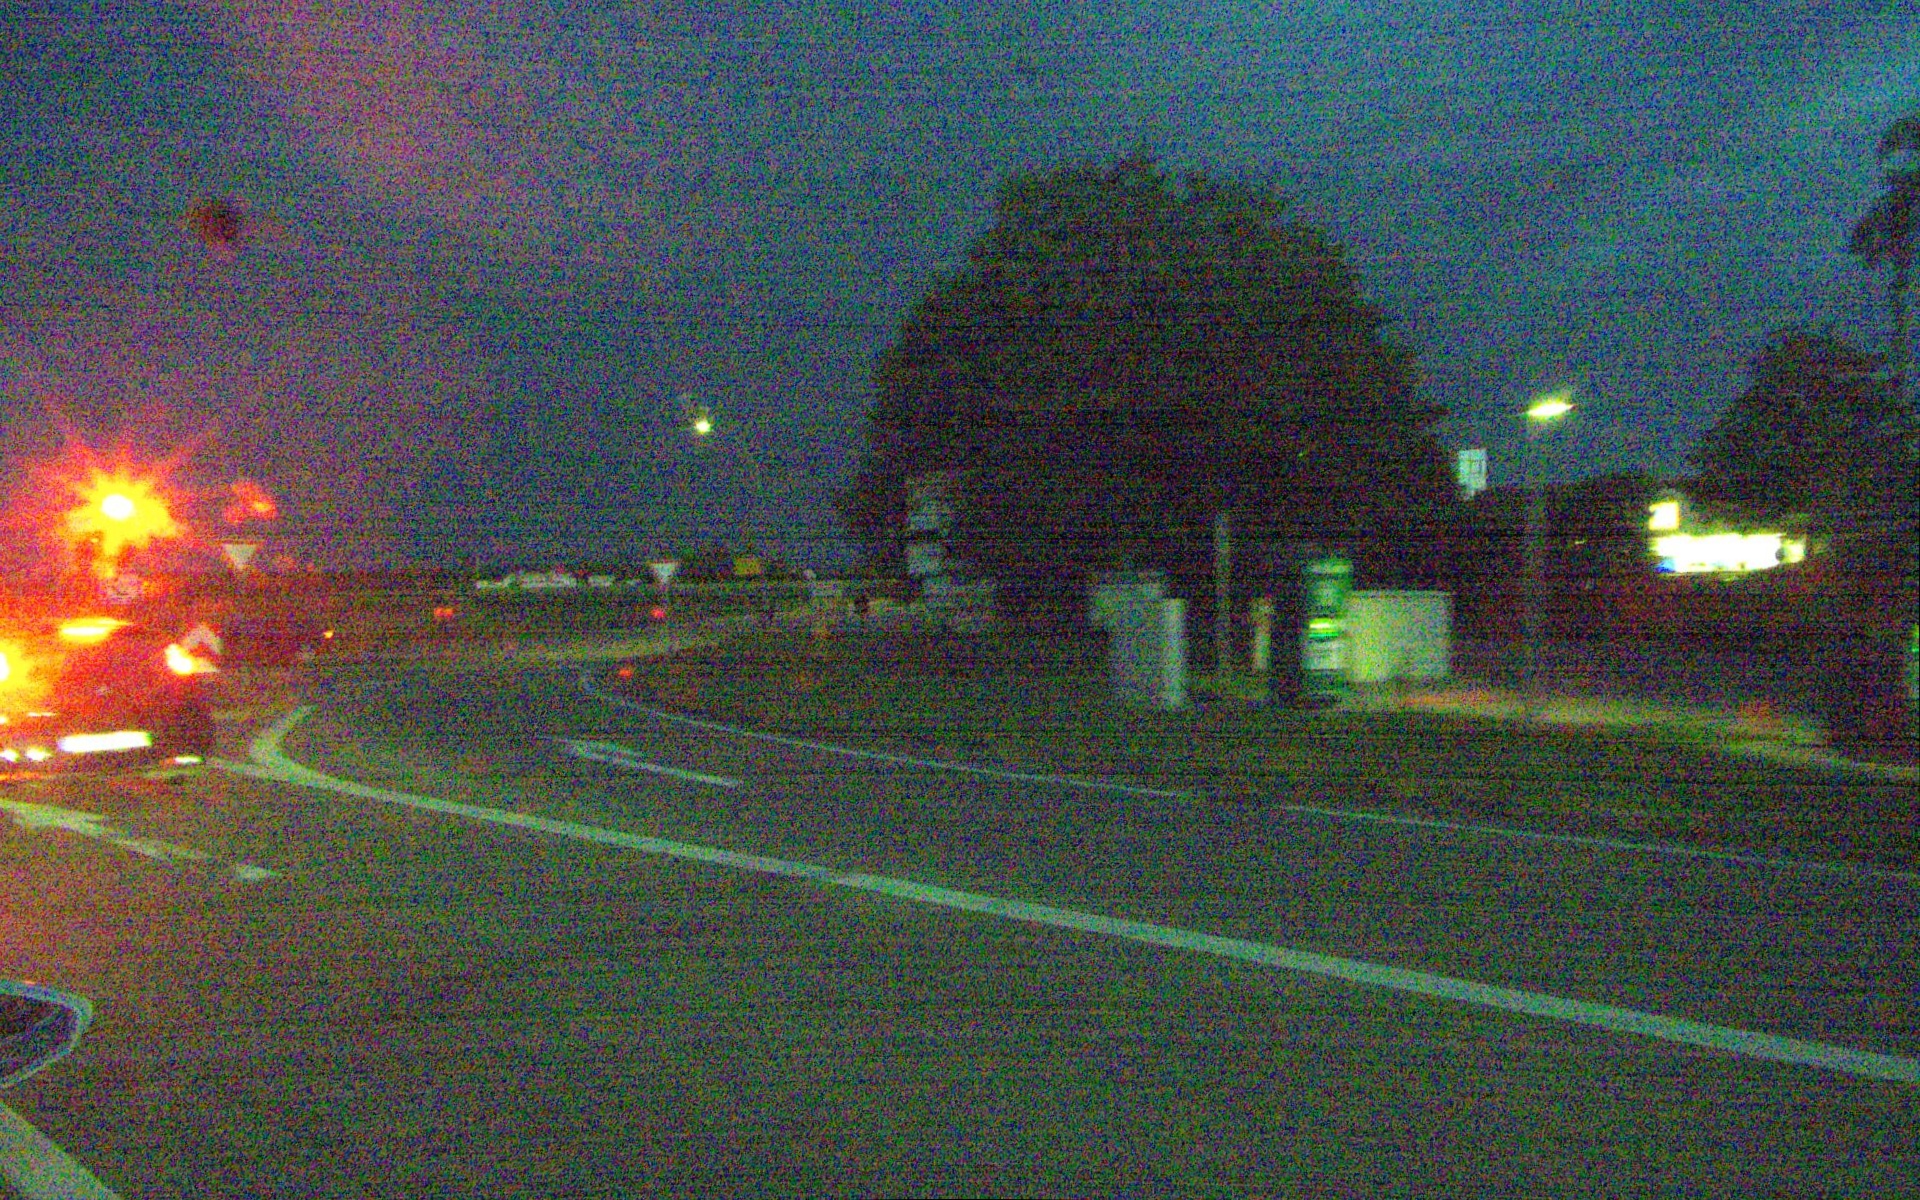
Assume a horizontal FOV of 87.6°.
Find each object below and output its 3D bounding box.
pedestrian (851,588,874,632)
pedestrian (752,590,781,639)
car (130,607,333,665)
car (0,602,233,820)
[{"bbox_3d":[-4.384,0.449,45.060,0.860,1.925,0.660,0,1,6],"label":"pedestrian"},{"bbox_3d":[-7.566,0.575,39.132,0.861,1.859,0.731,-3,1,6],"label":"pedestrian"},{"bbox_3d":[-21.969,1.017,30.395,1.972,1.541,4.590,0,1,33],"label":"car"},{"bbox_3d":[-8.126,0.810,8.675,4.049,1.540,1.667,0,-1,34],"label":"car"}]
